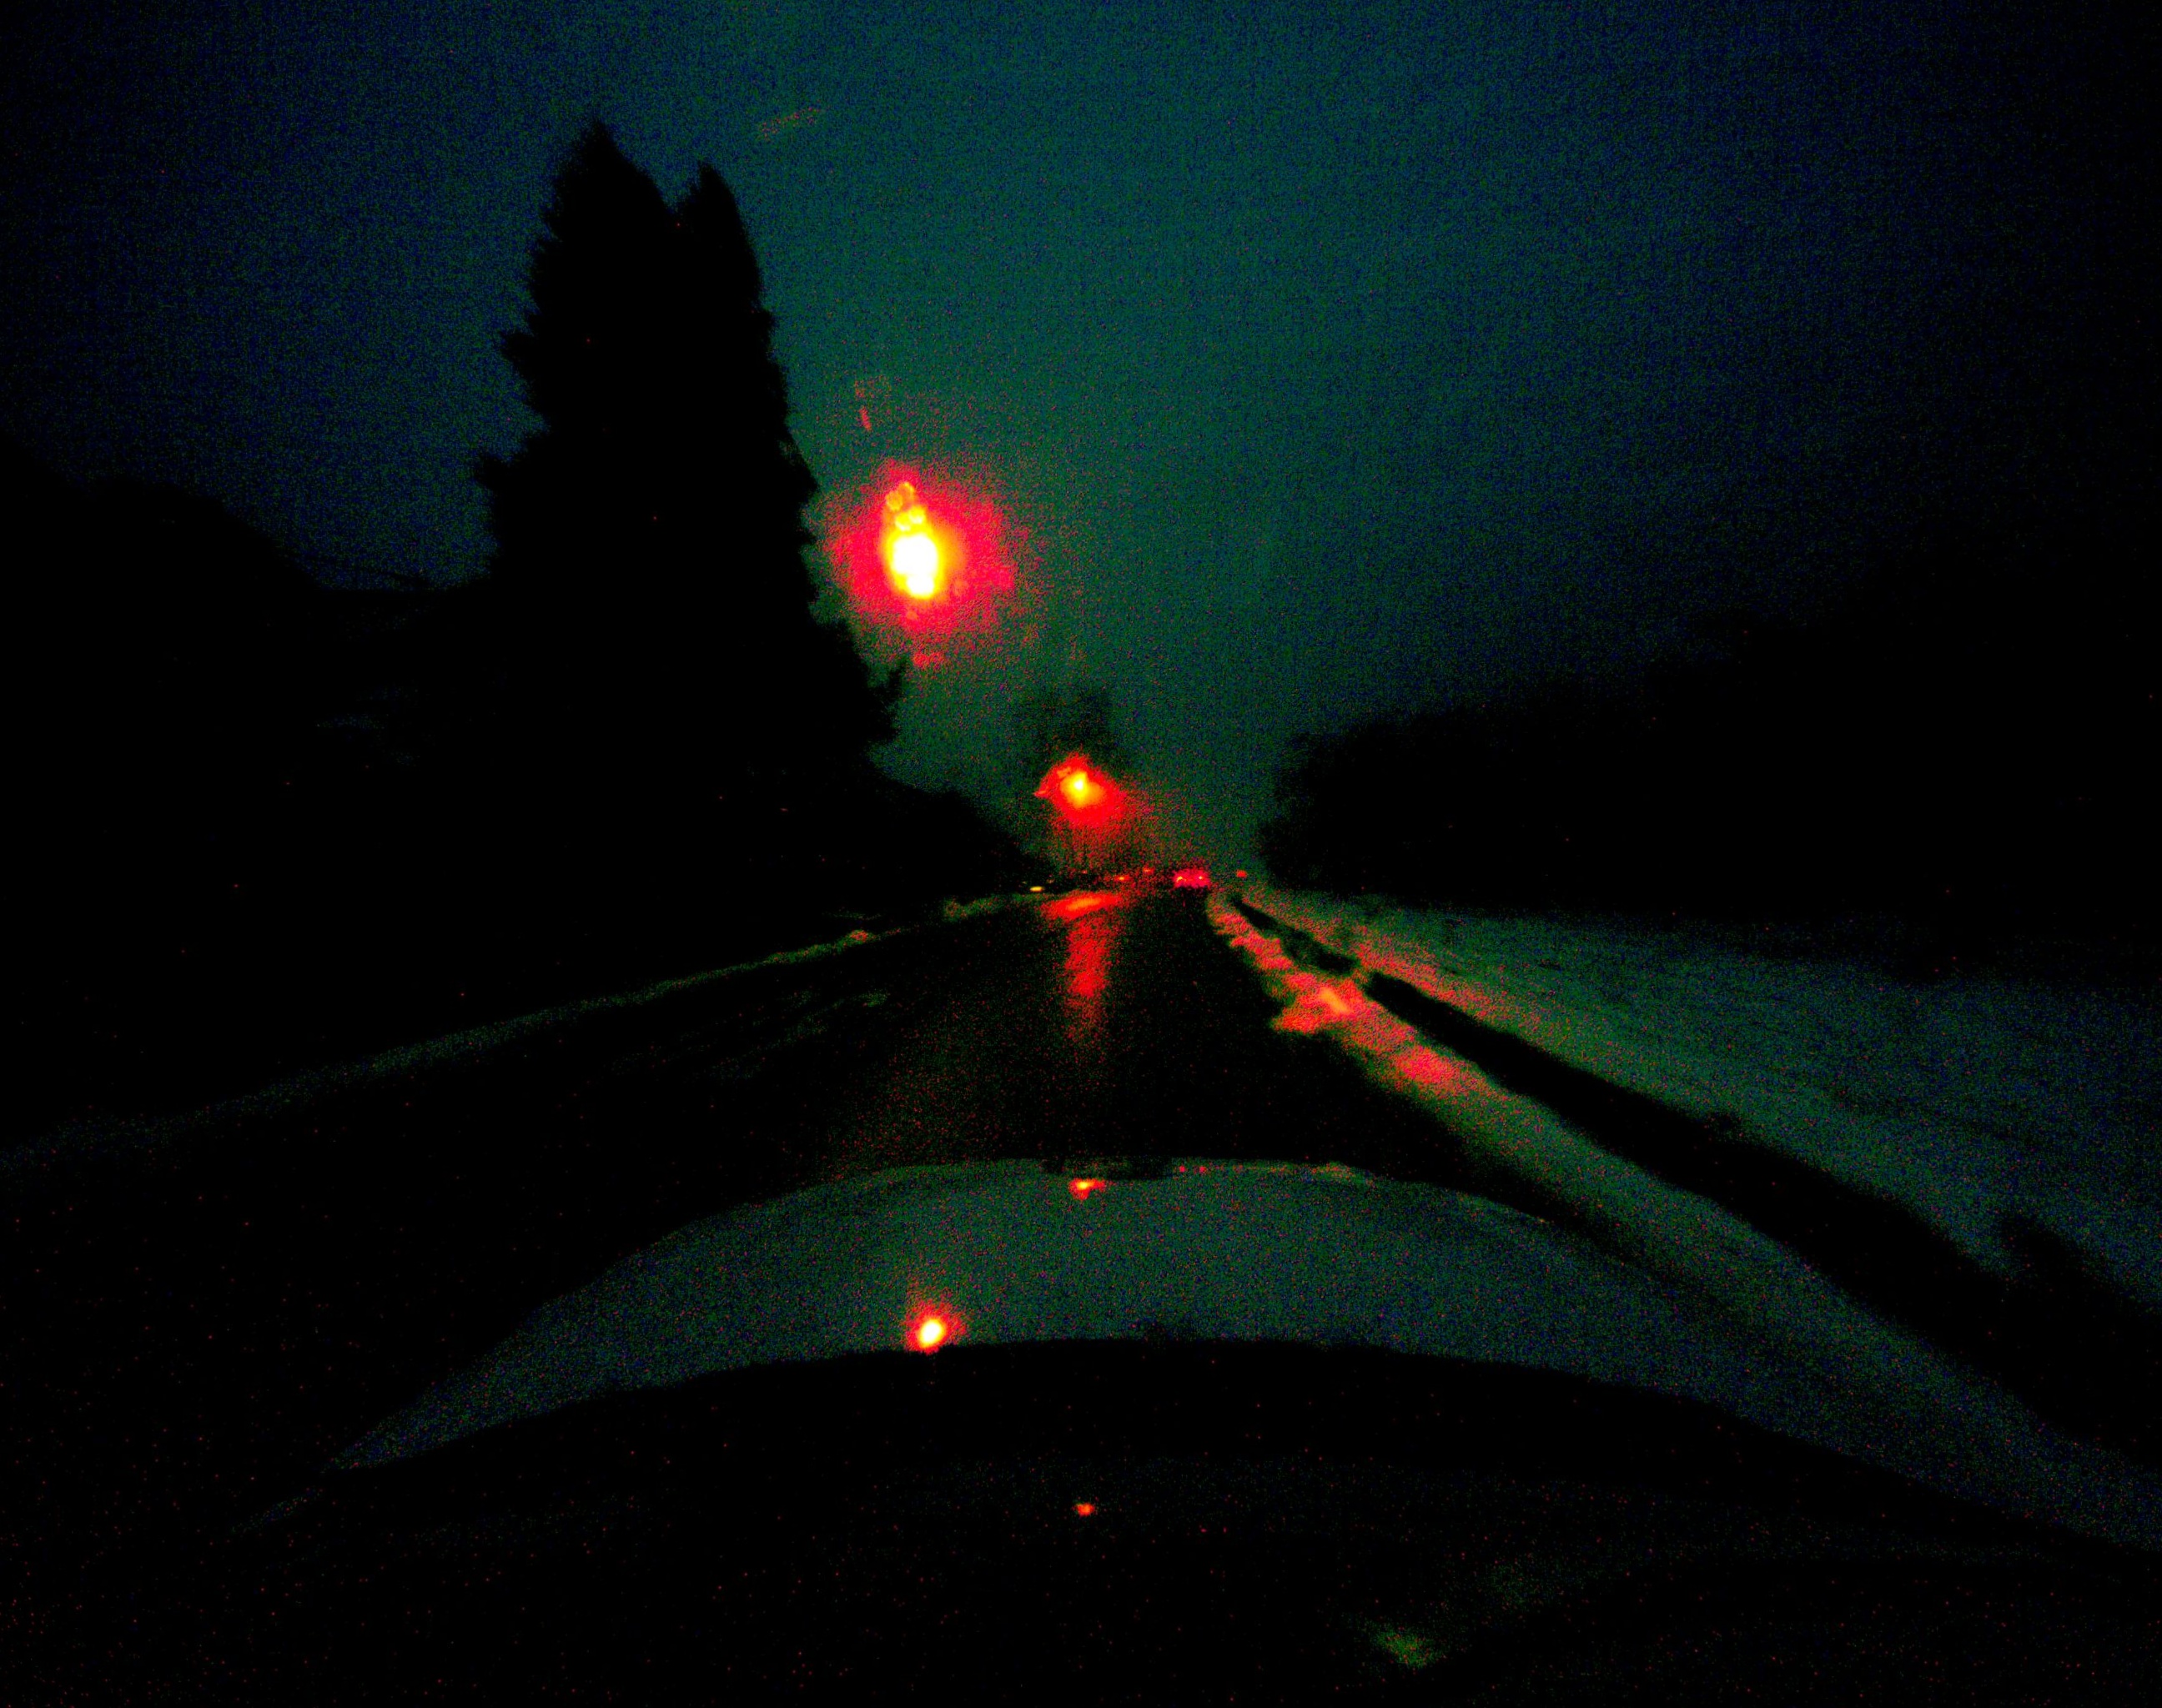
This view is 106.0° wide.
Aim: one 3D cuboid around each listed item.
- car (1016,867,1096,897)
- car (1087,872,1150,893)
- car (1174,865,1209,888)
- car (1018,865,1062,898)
[{"bbox_3d":[-1.476,1.700,49.105,4.508,1.566,2.113,-3,-2,3],"label":"car"},{"bbox_3d":[3.158,2.398,67.766,4.855,1.485,2.130,-4,-3,11],"label":"car"},{"bbox_3d":[7.298,1.468,53.584,1.980,1.420,4.012,-1,-1,12],"label":"car"},{"bbox_3d":[-2.243,1.506,43.370,1.991,1.566,4.986,-4,-3,-6],"label":"car"}]
